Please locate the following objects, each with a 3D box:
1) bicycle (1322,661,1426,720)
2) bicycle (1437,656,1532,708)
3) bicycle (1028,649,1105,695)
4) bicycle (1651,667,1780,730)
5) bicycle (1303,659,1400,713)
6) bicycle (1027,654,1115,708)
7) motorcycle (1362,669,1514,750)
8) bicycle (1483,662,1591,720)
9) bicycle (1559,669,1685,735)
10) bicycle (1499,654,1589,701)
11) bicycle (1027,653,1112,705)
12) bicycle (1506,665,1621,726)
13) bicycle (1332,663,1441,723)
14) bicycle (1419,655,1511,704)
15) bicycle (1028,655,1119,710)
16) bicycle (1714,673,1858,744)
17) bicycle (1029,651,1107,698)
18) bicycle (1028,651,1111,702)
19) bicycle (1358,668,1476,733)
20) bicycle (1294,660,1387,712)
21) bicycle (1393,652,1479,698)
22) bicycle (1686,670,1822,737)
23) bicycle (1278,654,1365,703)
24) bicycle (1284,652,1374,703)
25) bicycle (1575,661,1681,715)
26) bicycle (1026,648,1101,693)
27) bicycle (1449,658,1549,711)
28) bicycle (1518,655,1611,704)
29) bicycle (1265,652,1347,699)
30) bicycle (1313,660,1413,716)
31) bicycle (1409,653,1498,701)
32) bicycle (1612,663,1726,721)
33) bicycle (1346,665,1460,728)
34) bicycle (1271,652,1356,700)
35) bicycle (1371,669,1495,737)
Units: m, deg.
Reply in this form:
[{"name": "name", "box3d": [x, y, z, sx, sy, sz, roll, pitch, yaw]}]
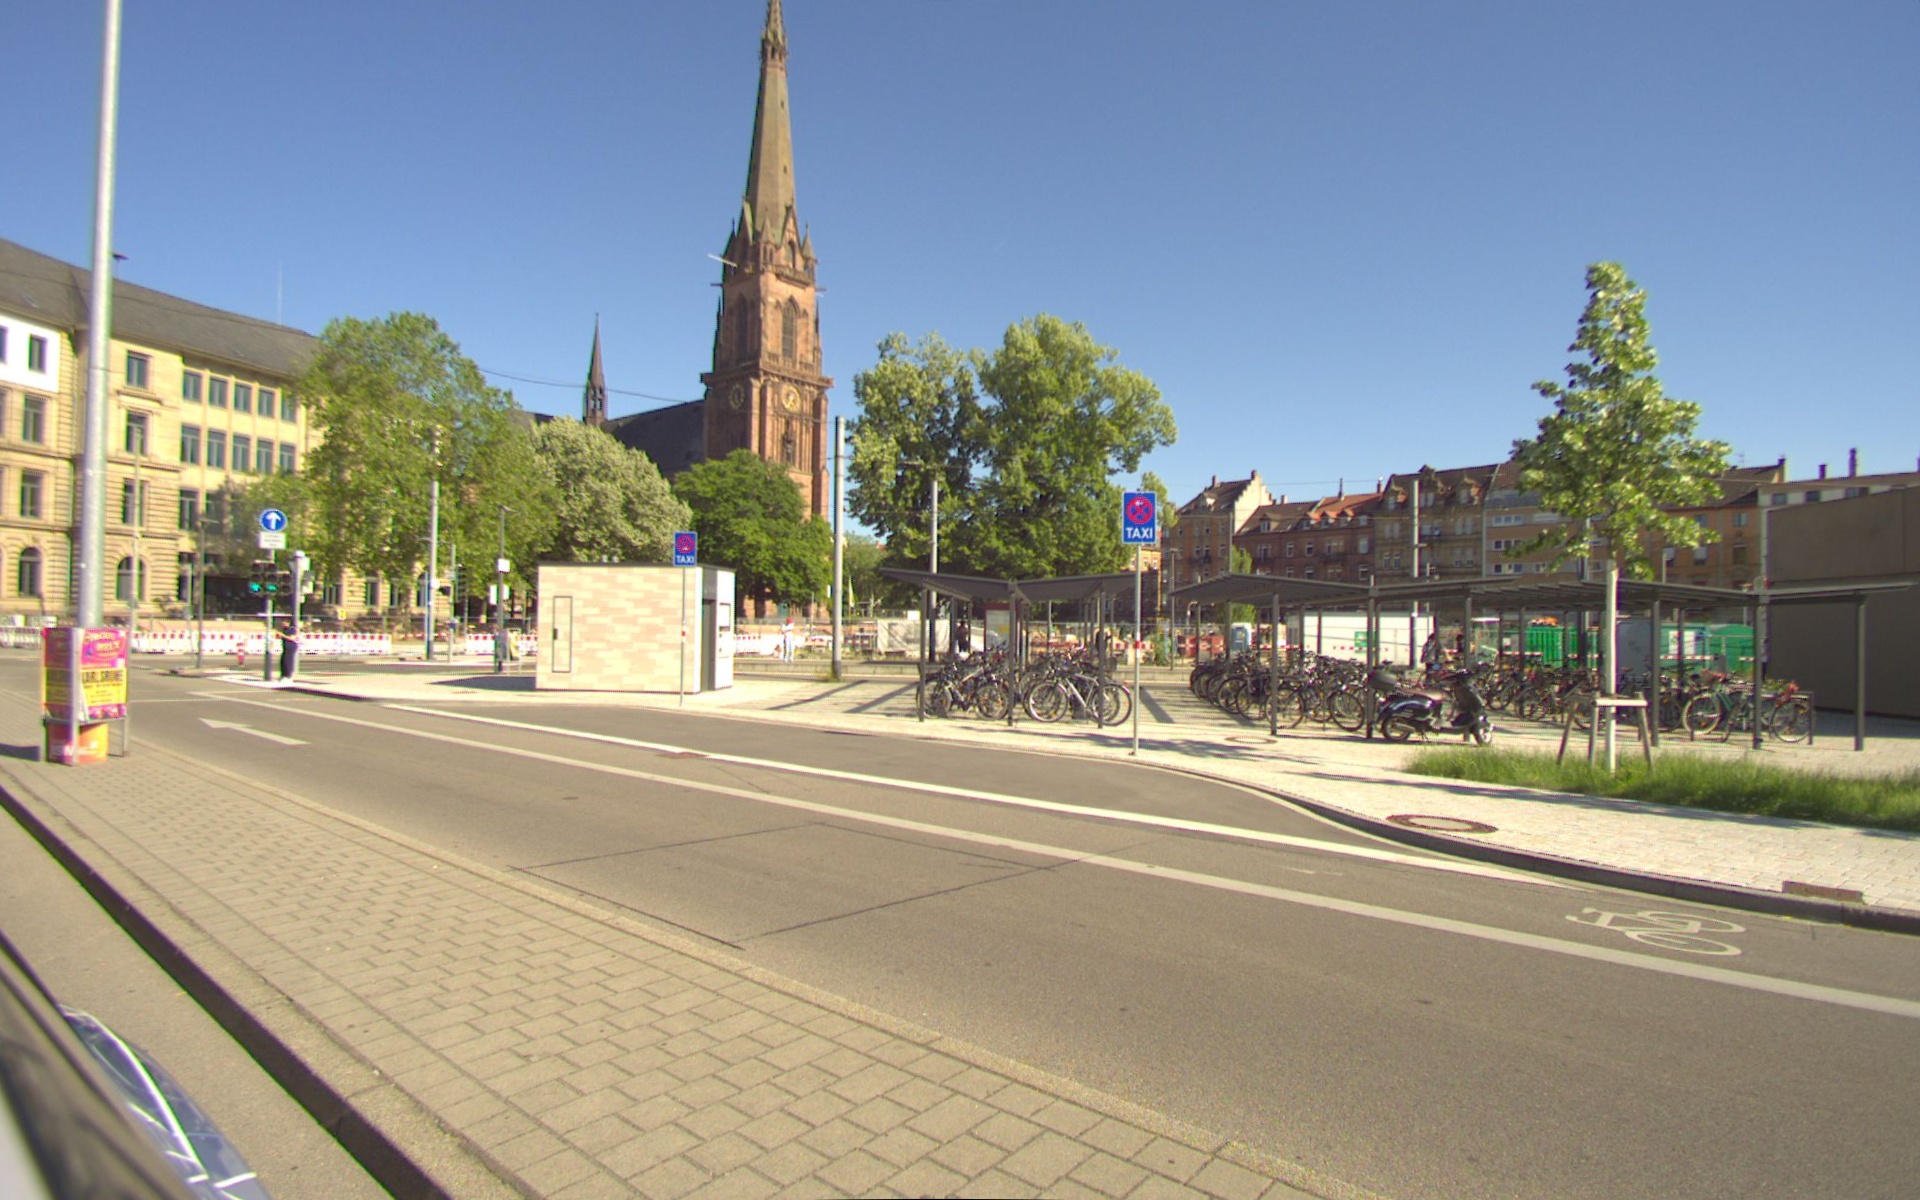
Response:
[{"name": "bicycle", "box3d": [7.957, 1.732, 19.486, 1.765, 1.046, 0.567, 1, -3, 4]}, {"name": "bicycle", "box3d": [11.430, 1.782, 22.092, 1.765, 1.046, 0.567, 1, -3, 4]}, {"name": "bicycle", "box3d": [2.533, 1.717, 24.184, 1.765, 1.046, 0.567, 1, -3, 4]}, {"name": "bicycle", "box3d": [13.589, 1.758, 18.252, 1.769, 1.046, 0.566, 1, -3, 12]}, {"name": "bicycle", "box3d": [8.059, 1.770, 20.883, 1.765, 1.046, 0.567, 1, -3, 4]}, {"name": "bicycle", "box3d": [2.298, 1.669, 20.993, 1.765, 1.046, 0.567, 1, -3, 4]}, {"name": "motorcycle", "box3d": [7.166, 1.629, 15.241, 1.962, 1.128, 0.593, 0, -2, 8]}, {"name": "bicycle", "box3d": [11.283, 1.769, 19.826, 1.765, 1.046, 0.567, 1, -3, 4]}, {"name": "bicycle", "box3d": [11.449, 1.758, 17.538, 1.765, 1.046, 0.567, 1, -3, 4]}, {"name": "bicycle", "box3d": [13.828, 1.822, 23.992, 1.765, 1.046, 0.567, 1, -3, 4]}, {"name": "bicycle", "box3d": [2.327, 1.674, 21.632, 1.765, 1.046, 0.567, 1, -3, 4]}, {"name": "bicycle", "box3d": [11.208, 1.770, 18.830, 1.765, 1.046, 0.567, 1, -3, 4]}, {"name": "bicycle", "box3d": [7.925, 1.718, 18.850, 1.765, 1.046, 0.567, 1, -3, 4]}, {"name": "bicycle", "box3d": [11.409, 1.796, 22.886, 1.765, 1.046, 0.567, 1, -3, 4]}, {"name": "bicycle", "box3d": [2.267, 1.648, 20.392, 1.765, 1.046, 0.567, 1, -3, 4]}, {"name": "bicycle", "box3d": [13.156, 1.725, 16.152, 1.765, 1.046, 0.567, 1, -3, 4]}, {"name": "bicycle", "box3d": [2.508, 1.724, 23.557, 1.765, 1.046, 0.567, 1, -3, 4]}, {"name": "bicycle", "box3d": [2.390, 1.673, 22.232, 1.765, 1.046, 0.567, 1, -3, 4]}, {"name": "bicycle", "box3d": [7.889, 1.722, 17.501, 1.765, 1.046, 0.567, 1, -3, 4]}, {"name": "bicycle", "box3d": [8.108, 1.828, 21.598, 1.765, 1.046, 0.567, 1, -3, 4]}, {"name": "bicycle", "box3d": [11.373, 1.786, 24.221, 1.765, 1.046, 0.567, 1, -3, 4]}, {"name": "bicycle", "box3d": [13.382, 1.730, 17.086, 1.765, 1.046, 0.567, 1, -3, 4]}, {"name": "bicycle", "box3d": [8.194, 1.779, 22.967, 1.765, 1.046, 0.567, 1, -3, 4]}, {"name": "bicycle", "box3d": [8.147, 1.700, 22.369, 1.765, 1.046, 0.567, 1, -3, 4]}, {"name": "bicycle", "box3d": [13.840, 1.823, 20.991, 1.765, 1.046, 0.567, 1, -3, 4]}, {"name": "bicycle", "box3d": [2.526, 1.715, 24.816, 1.765, 1.046, 0.567, 1, -3, 4]}, {"name": "bicycle", "box3d": [11.369, 1.767, 21.375, 1.765, 1.046, 0.567, 1, -3, 4]}, {"name": "bicycle", "box3d": [13.883, 1.822, 23.277, 1.765, 1.046, 0.567, 1, -3, 4]}, {"name": "bicycle", "box3d": [8.268, 1.798, 24.238, 1.765, 1.046, 0.567, 1, -3, 4]}, {"name": "bicycle", "box3d": [8.016, 1.749, 20.173, 1.765, 1.046, 0.567, 1, -3, 4]}, {"name": "bicycle", "box3d": [11.442, 1.789, 23.507, 1.765, 1.046, 0.567, 1, -3, 4]}, {"name": "bicycle", "box3d": [13.793, 1.776, 19.707, 1.765, 1.046, 0.567, 1, -3, 4]}, {"name": "bicycle", "box3d": [7.914, 1.709, 18.105, 1.765, 1.046, 0.567, 1, -3, 4]}, {"name": "bicycle", "box3d": [8.238, 1.759, 23.602, 1.765, 1.046, 0.567, 1, -3, 4]}, {"name": "bicycle", "box3d": [7.846, 1.695, 16.839, 1.765, 1.046, 0.567, 1, -3, 4]}]
